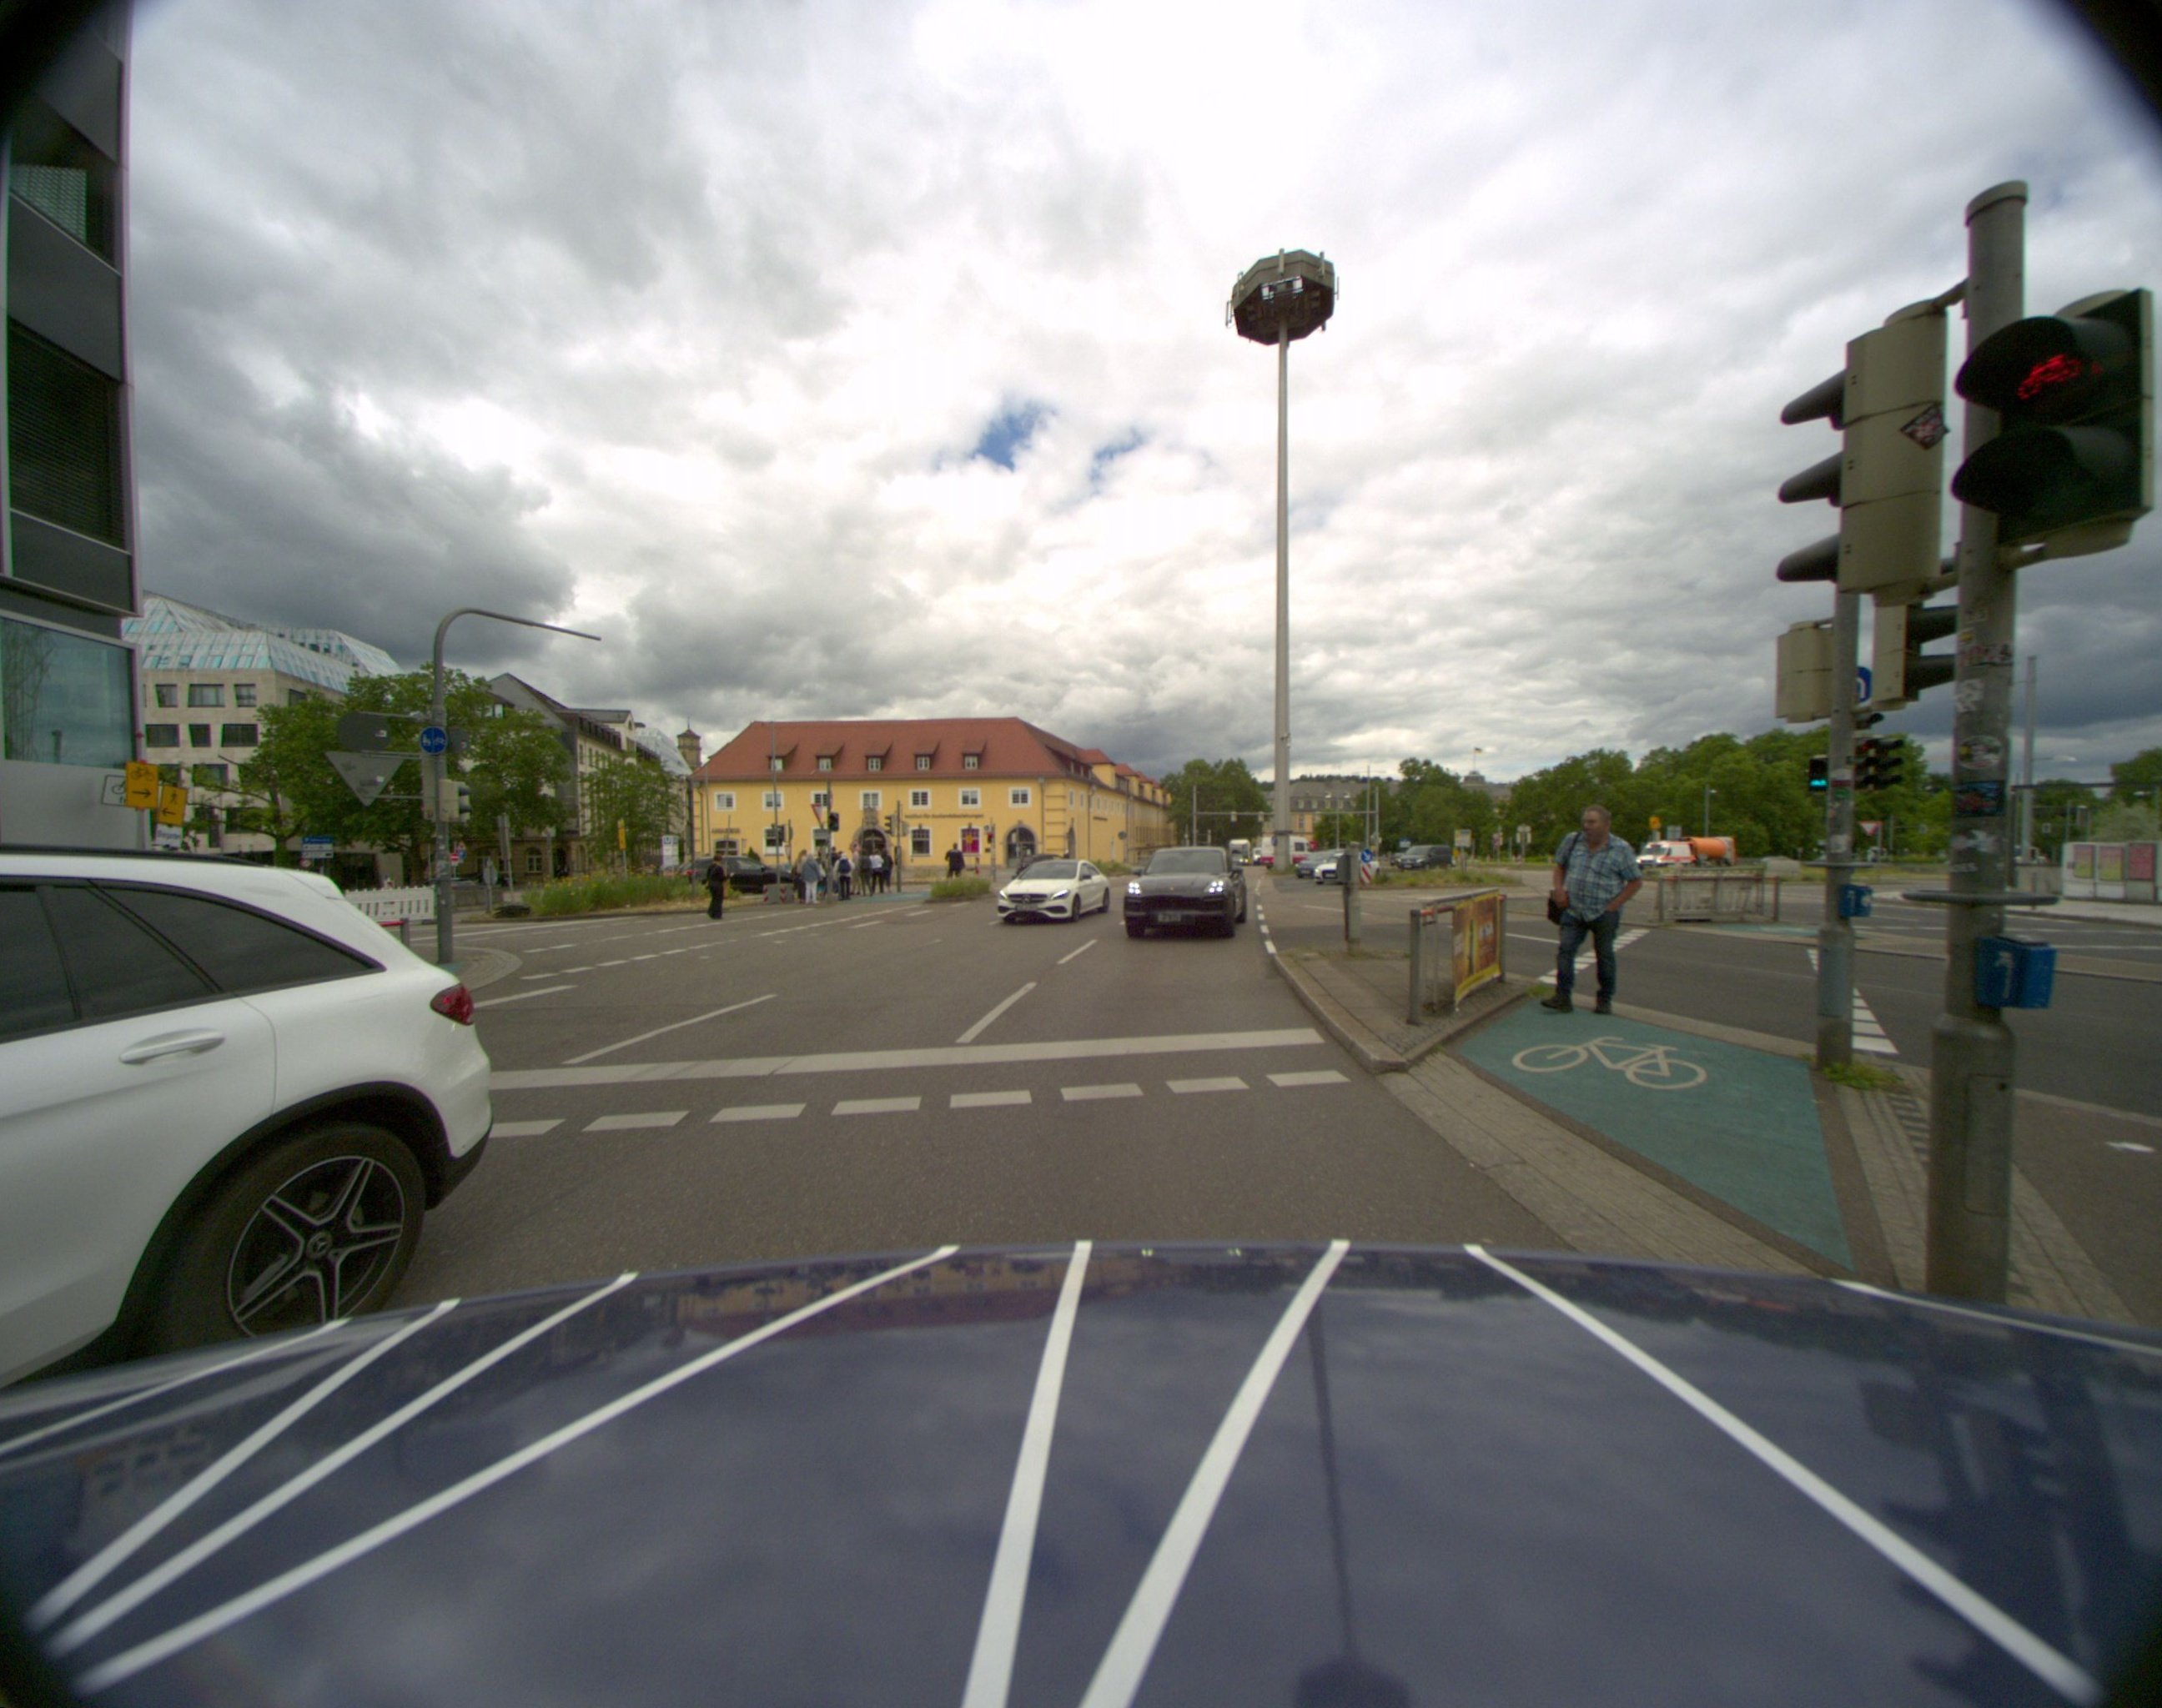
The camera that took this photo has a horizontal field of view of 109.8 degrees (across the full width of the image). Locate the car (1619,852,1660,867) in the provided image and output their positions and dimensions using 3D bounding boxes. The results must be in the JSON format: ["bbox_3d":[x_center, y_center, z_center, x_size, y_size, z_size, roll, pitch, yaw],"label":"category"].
[{"bbox_3d":[57.760,0.532,78.556,3.587,1.455,1.775,-1,0,-20],"label":"car"}]

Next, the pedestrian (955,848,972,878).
[{"bbox_3d":[-6.844,0.519,44.282,0.827,1.778,0.752,-1,1,-1],"label":"pedestrian"}]

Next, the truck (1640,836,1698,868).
[{"bbox_3d":[51.866,-0.140,66.988,5.798,2.767,1.952,0,0,-29],"label":"truck"}]

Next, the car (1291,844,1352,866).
[{"bbox_3d":[17.105,0.066,53.935,4.637,1.474,1.944,-1,-1,-42],"label":"car"}]

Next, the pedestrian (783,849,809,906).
[{"bbox_3d":[-9.244,0.752,24.623,0.670,1.805,0.701,-1,1,-29],"label":"pedestrian"}]

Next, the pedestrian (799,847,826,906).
[{"bbox_3d":[-8.541,0.703,24.155,0.670,1.851,0.701,-1,1,-29],"label":"pedestrian"}]

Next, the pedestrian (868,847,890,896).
[{"bbox_3d":[-7.469,0.639,28.107,0.612,1.786,0.641,-2,1,-32],"label":"pedestrian"}]

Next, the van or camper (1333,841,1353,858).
[{"bbox_3d":[31.661,-0.555,91.831,1.863,1.905,4.718,-1,0,13],"label":"van or camper"}]

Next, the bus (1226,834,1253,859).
[{"bbox_3d":[21.662,-1.012,104.273,3.430,3.185,13.074,0,0,11],"label":"bus"}]

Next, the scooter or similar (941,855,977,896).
[{"bbox_3d":[-4.427,0.761,27.454,0.778,1.398,1.884,-1,0,-24],"label":"scooter or similar"}]

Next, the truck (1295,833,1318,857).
[{"bbox_3d":[33.486,-1.256,113.219,2.787,3.469,8.358,0,0,13],"label":"truck"}]

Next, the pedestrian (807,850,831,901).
[{"bbox_3d":[-8.855,0.733,25.671,0.612,1.686,0.641,-2,1,-32],"label":"pedestrian"}]

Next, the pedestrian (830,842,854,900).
[{"bbox_3d":[-8.175,0.565,25.974,0.612,1.953,0.641,-2,1,-32],"label":"pedestrian"}]

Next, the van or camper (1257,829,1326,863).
[{"bbox_3d":[16.440,-0.596,59.084,6.174,2.462,2.141,-1,0,-43],"label":"van or camper"}]

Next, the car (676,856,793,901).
[{"bbox_3d":[-13.083,0.875,28.732,3.816,1.567,1.995,0,0,-30],"label":"car"}]

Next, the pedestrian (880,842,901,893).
[{"bbox_3d":[-7.317,0.512,29.233,0.611,1.943,0.641,-1,1,-28],"label":"pedestrian"}]

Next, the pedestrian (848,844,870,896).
[{"bbox_3d":[-8.344,0.596,28.596,0.612,1.899,0.641,-2,1,-32],"label":"pedestrian"}]

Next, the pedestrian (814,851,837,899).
[{"bbox_3d":[-9.103,0.741,27.058,0.612,1.686,0.641,-2,1,-32],"label":"pedestrian"}]

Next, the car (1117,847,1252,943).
[{"bbox_3d":[2.299,0.696,15.463,2.002,1.628,5.027,-1,0,16],"label":"car"}]

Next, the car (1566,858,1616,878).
[{"bbox_3d":[44.847,1.223,66.801,3.744,1.729,1.857,0,0,-21],"label":"car"}]

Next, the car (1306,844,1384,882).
[{"bbox_3d":[12.335,0.417,35.373,2.091,1.599,4.422,-3,-2,37],"label":"car"}]

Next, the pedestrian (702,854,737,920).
[{"bbox_3d":[-9.439,0.841,19.853,0.803,1.688,0.547,-1,1,-26],"label":"pedestrian"}]

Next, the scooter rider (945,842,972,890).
[{"bbox_3d":[-4.428,0.435,27.453,0.767,1.684,0.745,-1,1,-24],"label":"scooter rider"}]

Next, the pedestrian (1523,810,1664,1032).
[{"bbox_3d":[4.354,0.560,6.486,0.718,1.779,0.634,3,-1,-8],"label":"pedestrian"}]

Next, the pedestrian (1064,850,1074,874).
[{"bbox_3d":[-0.926,0.631,59.531,0.639,1.884,0.557,0,1,-19],"label":"pedestrian"}]

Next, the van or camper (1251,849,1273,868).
[{"bbox_3d":[21.943,0.501,91.918,2.370,2.249,6.295,1,0,16],"label":"van or camper"}]

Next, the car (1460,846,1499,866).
[{"bbox_3d":[41.529,0.225,79.179,5.055,1.494,1.994,10,-7,-43],"label":"car"}]

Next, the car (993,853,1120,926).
[{"bbox_3d":[-0.444,0.768,18.913,1.868,1.560,4.657,0,0,15],"label":"car"}]

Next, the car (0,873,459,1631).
[{"bbox_3d":[-3.343,0.901,0.729,1.806,1.637,4.335,0,0,3],"label":"car"}]

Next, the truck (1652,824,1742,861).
[{"bbox_3d":[62.003,-1.113,76.449,9.187,3.595,2.723,0,0,-20],"label":"truck"}]

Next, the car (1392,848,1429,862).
[{"bbox_3d":[32.996,0.072,76.003,4.422,1.325,1.754,-1,0,-44],"label":"car"}]

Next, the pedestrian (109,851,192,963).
[{"bbox_3d":[-14.939,0.830,12.219,0.591,1.738,0.636,-1,1,-25],"label":"pedestrian"}]

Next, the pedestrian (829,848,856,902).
[{"bbox_3d":[-7.895,0.679,25.153,0.670,1.751,0.762,-1,1,-29],"label":"pedestrian"}]

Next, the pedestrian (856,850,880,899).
[{"bbox_3d":[-7.468,0.700,26.639,0.612,1.686,0.641,-2,1,-32],"label":"pedestrian"}]

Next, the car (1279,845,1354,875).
[{"bbox_3d":[13.168,0.302,42.487,4.007,1.592,1.995,-1,0,-36],"label":"car"}]

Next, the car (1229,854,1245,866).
[{"bbox_3d":[18.803,0.739,91.521,1.825,1.400,4.004,0,0,13],"label":"car"}]

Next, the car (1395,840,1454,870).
[{"bbox_3d":[23.601,0.062,52.137,4.651,1.976,1.855,0,2,-41],"label":"car"}]
